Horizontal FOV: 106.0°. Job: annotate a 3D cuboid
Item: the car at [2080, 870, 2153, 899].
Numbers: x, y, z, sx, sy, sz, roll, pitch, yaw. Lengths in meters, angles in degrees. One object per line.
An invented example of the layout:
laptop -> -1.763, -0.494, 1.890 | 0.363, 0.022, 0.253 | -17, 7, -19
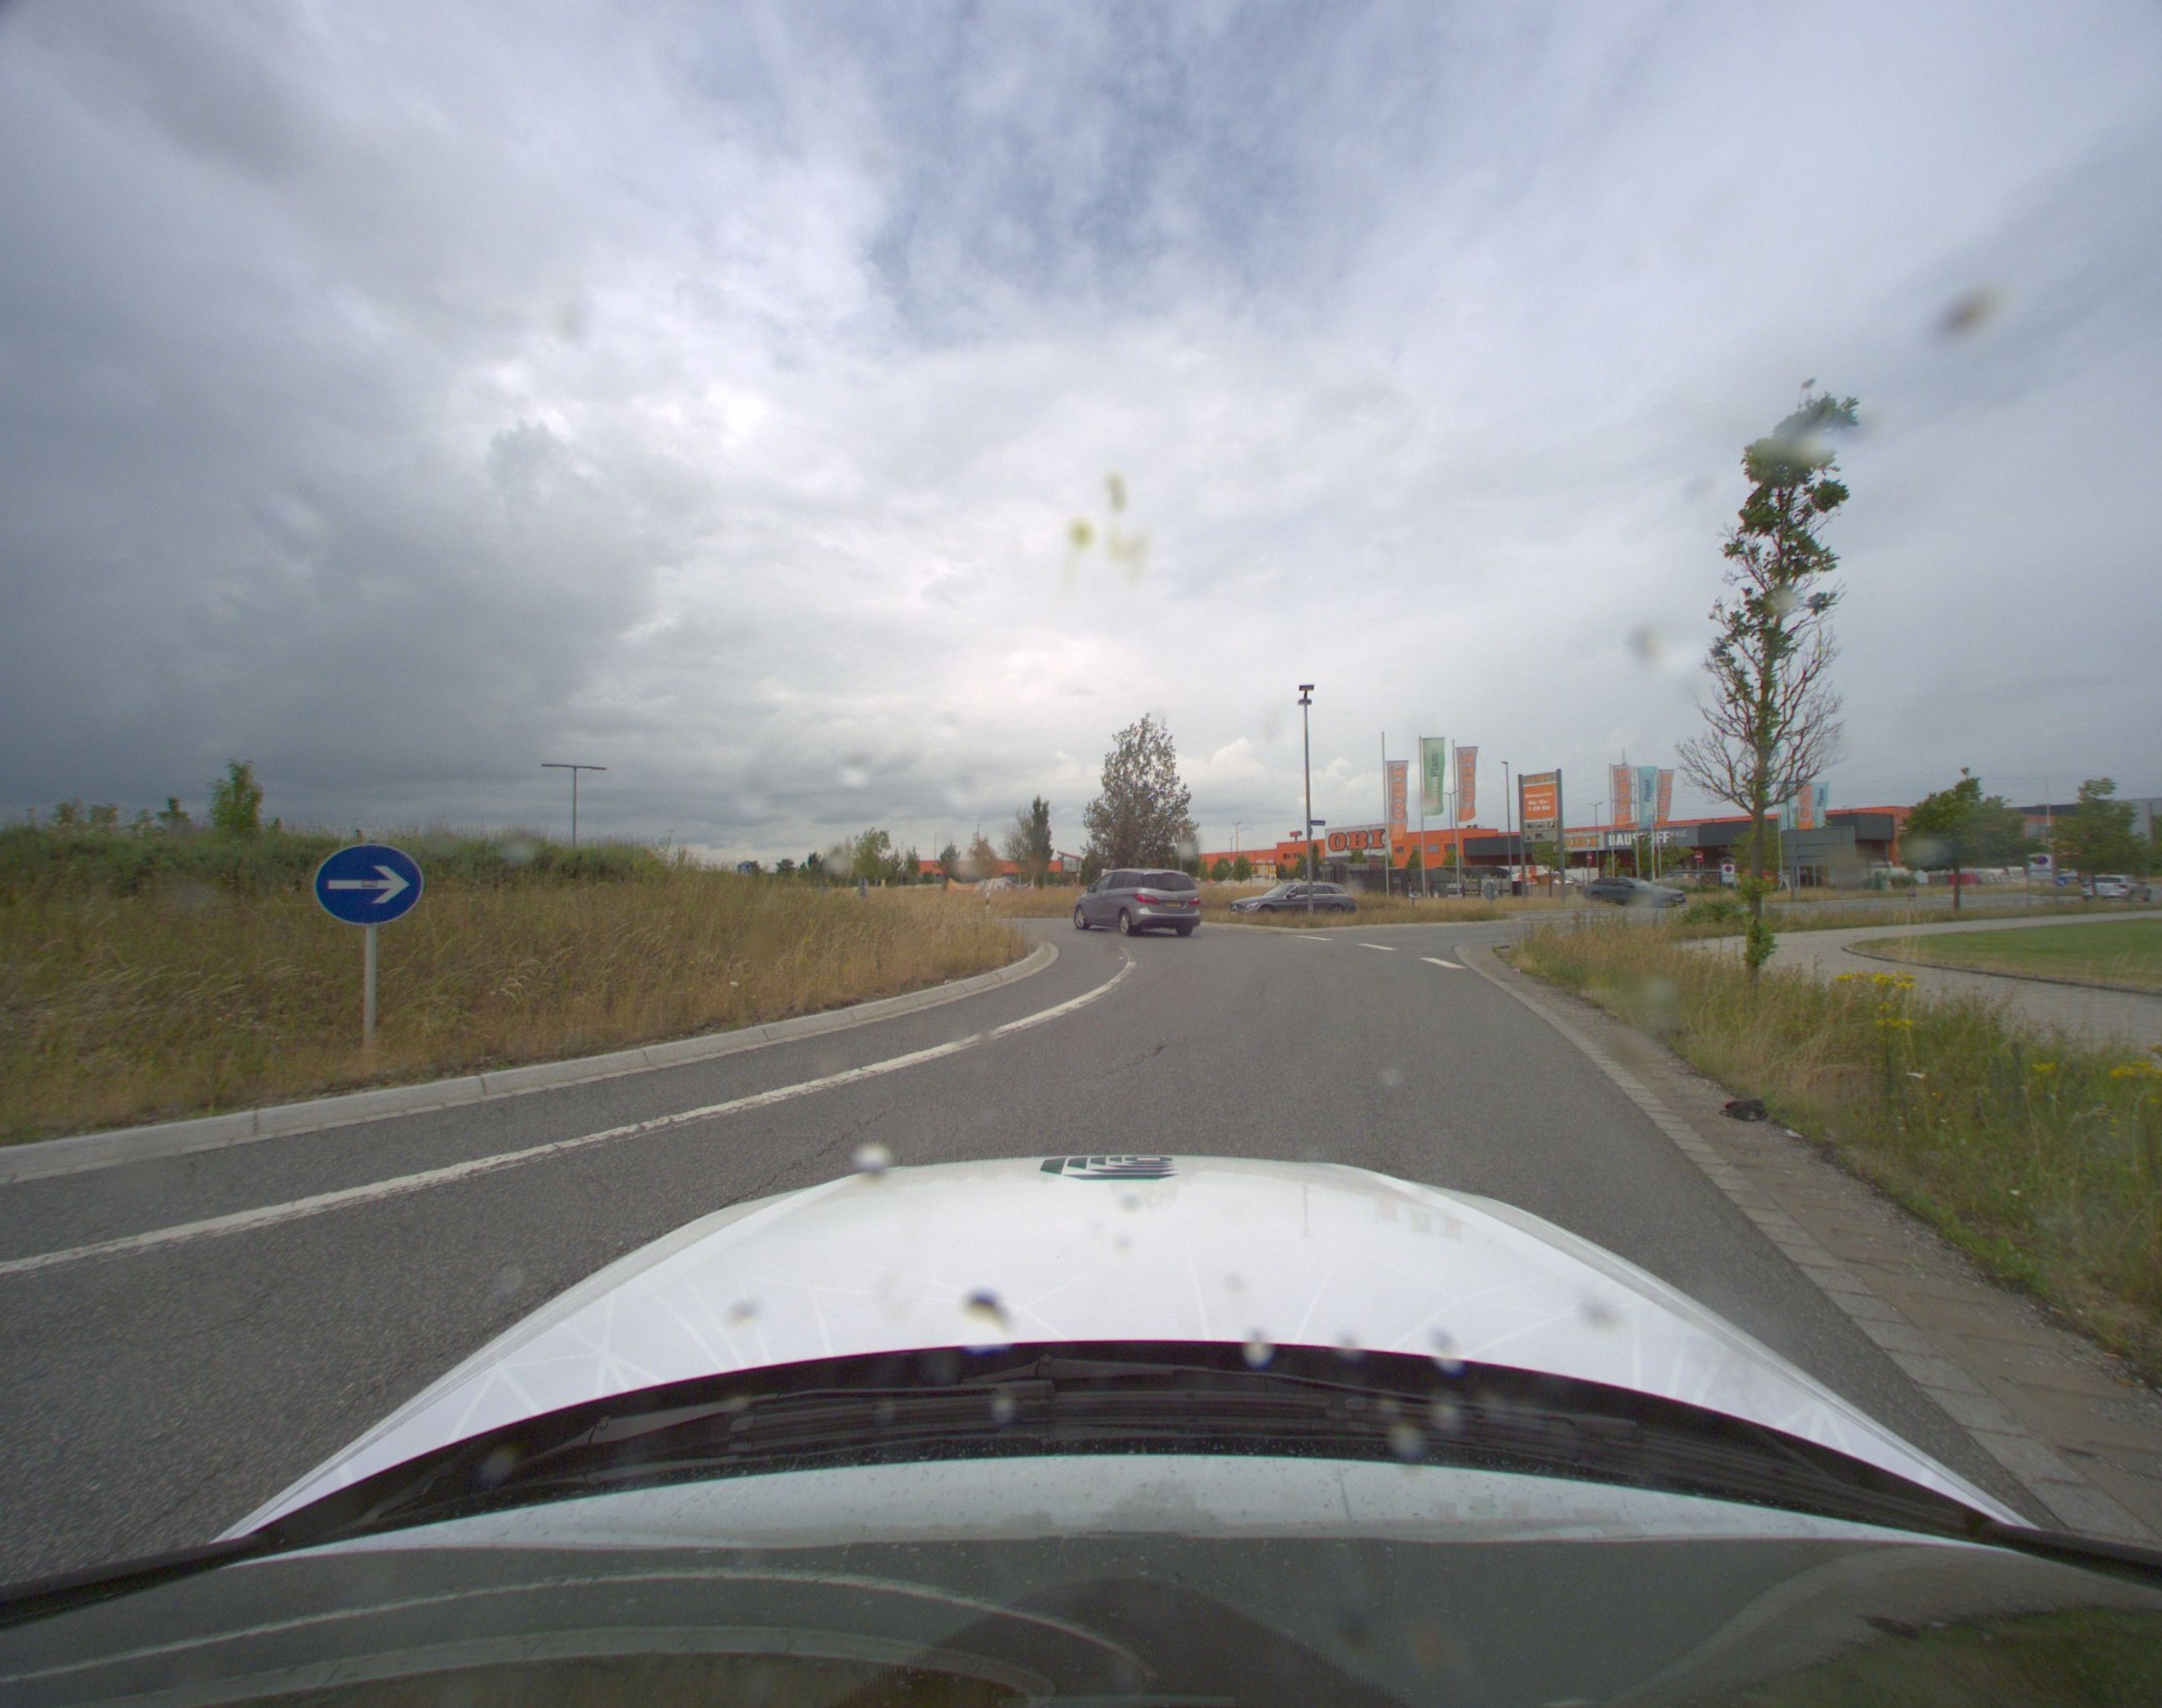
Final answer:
car -> 57.126, 1.664, 44.912 | 4.009, 1.464, 1.797 | 0, 0, -28

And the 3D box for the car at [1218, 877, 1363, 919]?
car -> 7.406, 1.557, 28.824 | 4.684, 1.404, 1.917 | 1, -2, -18

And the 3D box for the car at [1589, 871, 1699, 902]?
car -> 29.704, 1.755, 43.171 | 1.996, 1.507, 4.660 | 1, -4, -13

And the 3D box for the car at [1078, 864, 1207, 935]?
car -> 1.424, 1.106, 20.417 | 1.744, 1.599, 3.969 | 1, -3, -20

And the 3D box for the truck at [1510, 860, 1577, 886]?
truck -> 48.164, 2.035, 84.936 | 2.448, 2.485, 5.494 | 2, -5, -31
